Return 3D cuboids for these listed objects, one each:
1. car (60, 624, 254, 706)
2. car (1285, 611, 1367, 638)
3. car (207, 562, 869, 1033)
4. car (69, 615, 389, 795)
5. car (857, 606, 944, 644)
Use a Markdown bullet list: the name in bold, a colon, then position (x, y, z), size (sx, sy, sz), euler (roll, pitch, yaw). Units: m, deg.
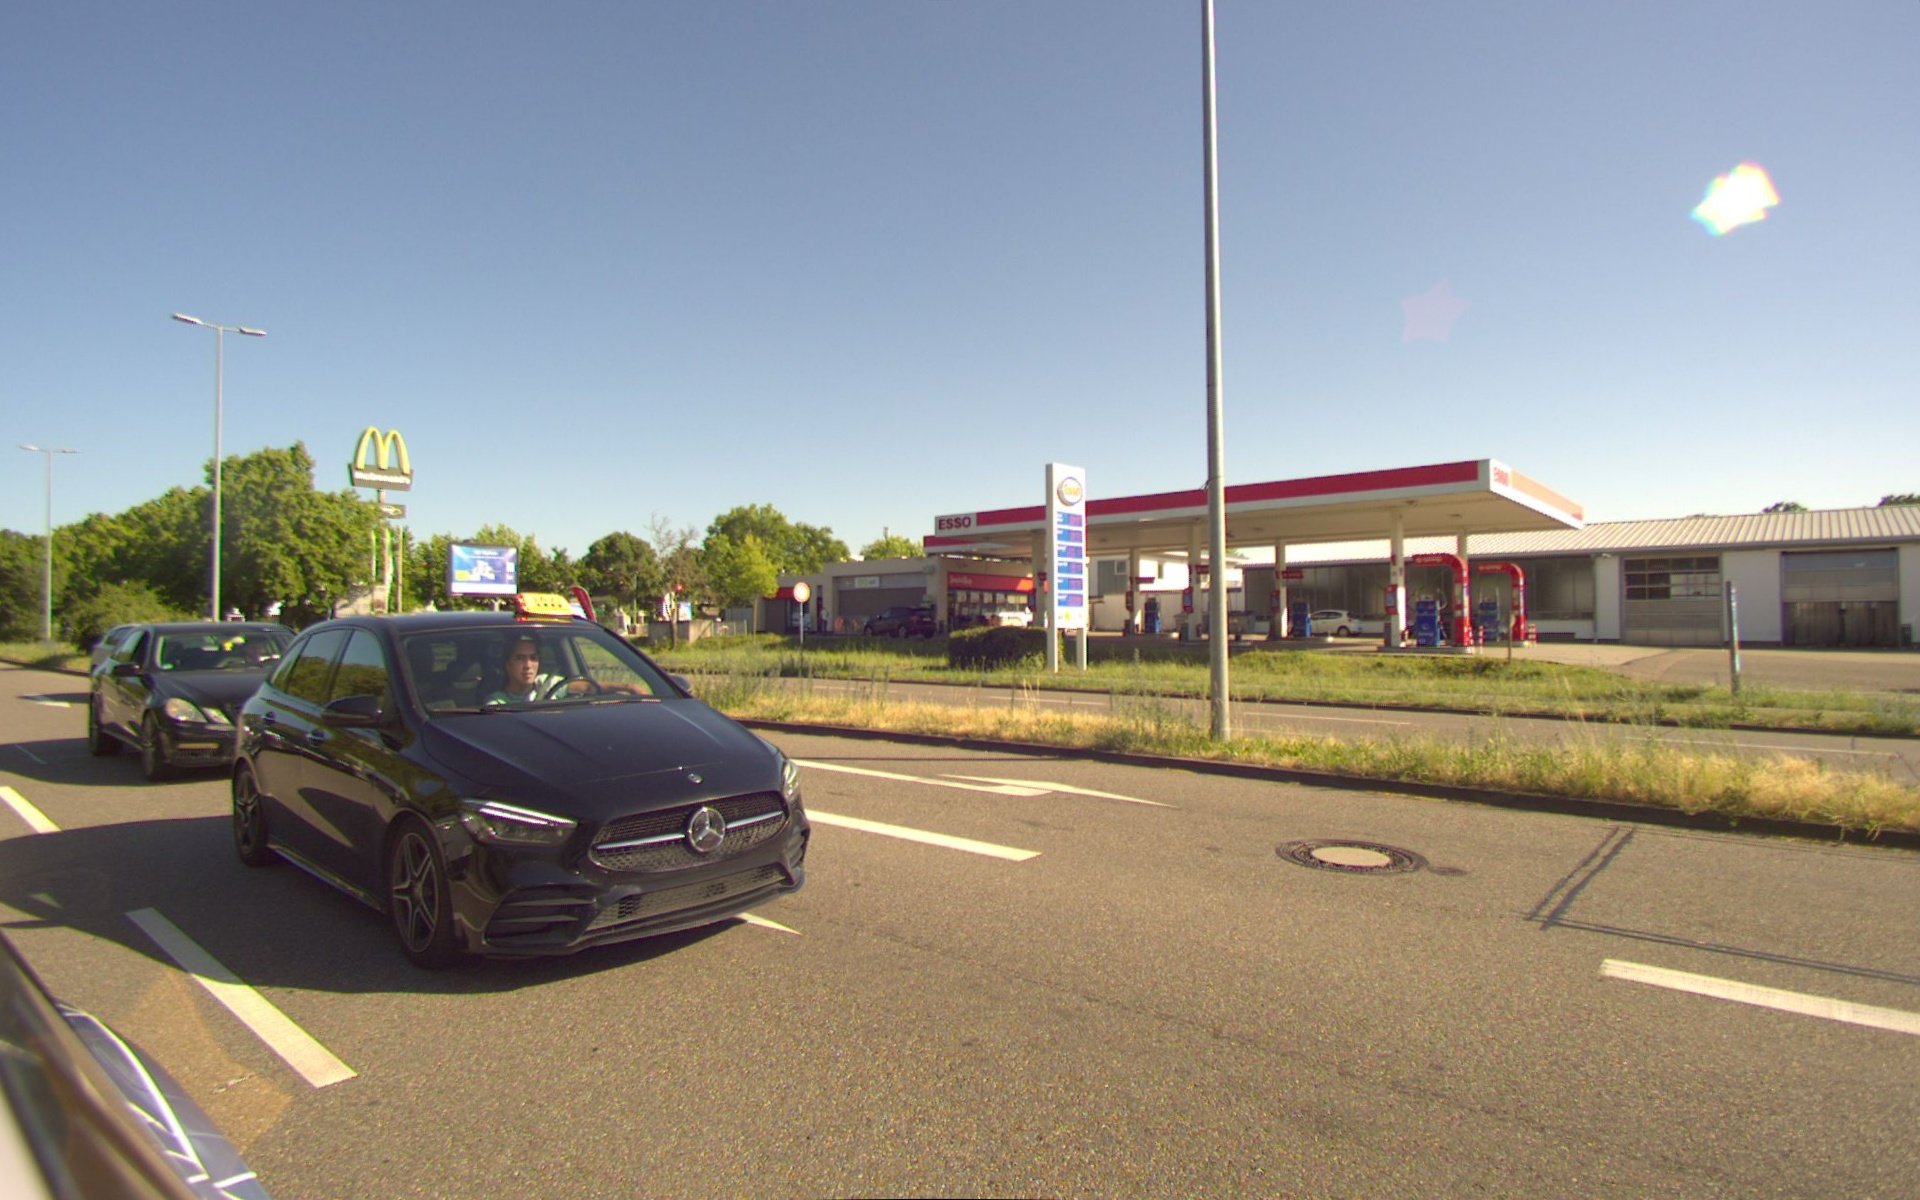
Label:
- **car**: position (-15.884, 1.219, 19.961), size (4.393, 1.440, 1.841), euler (-1, -2, 35)
- **car**: position (19.840, 1.338, 54.879), size (3.844, 1.450, 1.730), euler (-2, -2, 39)
- **car**: position (-2.583, 0.742, 5.613), size (4.187, 1.638, 1.780), euler (-2, -2, 42)
- **car**: position (-7.927, 0.955, 10.817), size (4.401, 1.535, 1.838), euler (-2, -2, 41)
- **car**: position (-2.962, 1.228, 49.552), size (4.117, 1.783, 1.972), euler (-2, -2, 43)
